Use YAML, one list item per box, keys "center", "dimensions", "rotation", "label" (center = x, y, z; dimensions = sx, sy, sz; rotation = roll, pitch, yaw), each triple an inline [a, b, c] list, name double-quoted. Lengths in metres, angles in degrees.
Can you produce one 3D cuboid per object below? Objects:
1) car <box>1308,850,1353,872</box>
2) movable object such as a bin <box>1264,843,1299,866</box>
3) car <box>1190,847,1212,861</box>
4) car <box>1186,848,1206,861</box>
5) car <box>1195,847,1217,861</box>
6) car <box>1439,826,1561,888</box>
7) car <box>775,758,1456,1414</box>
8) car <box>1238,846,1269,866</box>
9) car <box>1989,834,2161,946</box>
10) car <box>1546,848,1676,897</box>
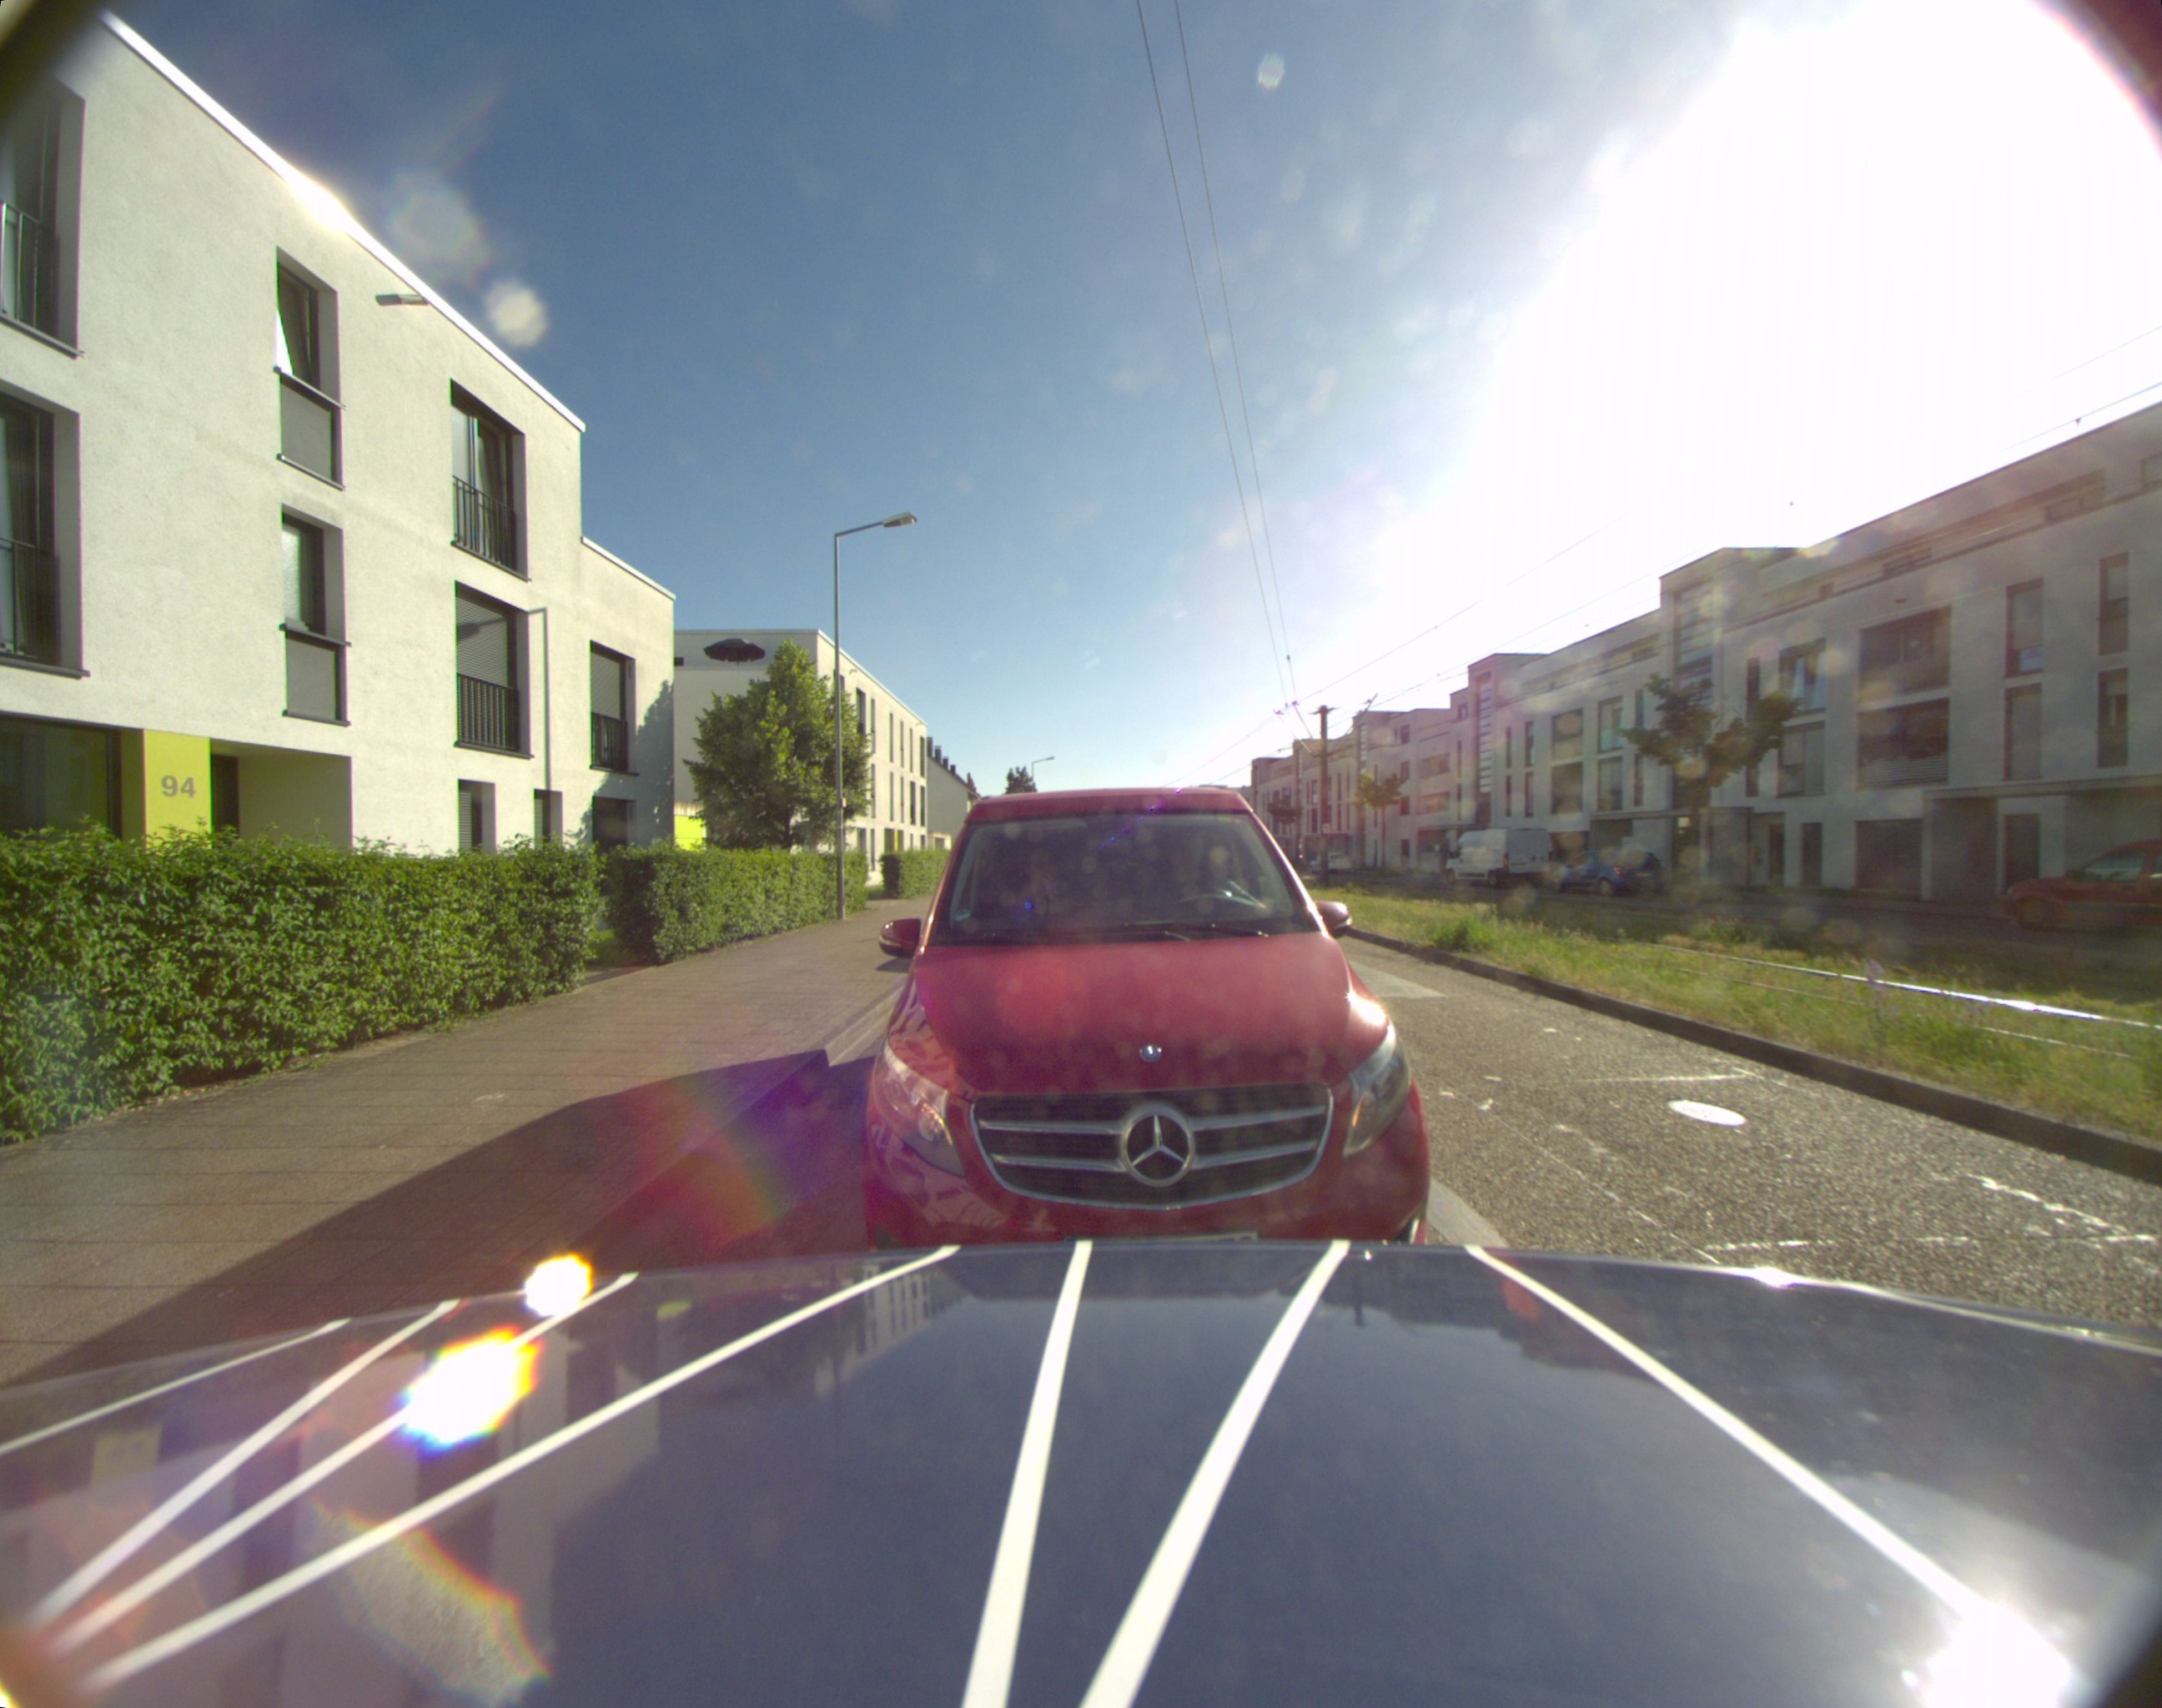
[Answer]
- center: [17.621, 0.466, 53.801]
  dimensions: [1.521, 1.424, 4.155]
  rotation: [-2, 0, -4]
  label: "car"
- center: [17.657, 0.033, 67.094]
  dimensions: [1.766, 1.926, 4.155]
  rotation: [-2, 0, -4]
  label: "movable object such as a bin"
- center: [13.036, -0.005, 82.441]
  dimensions: [1.792, 1.410, 4.000]
  rotation: [1, 0, 1]
  label: "car"
- center: [15.051, 0.049, 99.589]
  dimensions: [1.766, 1.590, 4.155]
  rotation: [-2, 0, -4]
  label: "car"
- center: [15.437, 0.008, 93.954]
  dimensions: [1.766, 1.590, 4.155]
  rotation: [-2, 0, -4]
  label: "car"
- center: [18.182, 0.129, 33.390]
  dimensions: [2.146, 2.430, 5.588]
  rotation: [-2, 0, -1]
  label: "car"
- center: [0.165, 0.703, 4.895]
  dimensions: [1.979, 1.922, 5.205]
  rotation: [-2, 0, 1]
  label: "car"
- center: [16.825, 0.160, 74.272]
  dimensions: [1.766, 1.859, 4.155]
  rotation: [-2, 0, -4]
  label: "car"
- center: [18.534, 0.570, 12.807]
  dimensions: [1.885, 1.785, 3.837]
  rotation: [-2, 0, 1]
  label: "car"
- center: [18.323, 0.582, 26.501]
  dimensions: [1.829, 1.528, 3.842]
  rotation: [-2, 0, 0]
  label: "car"
